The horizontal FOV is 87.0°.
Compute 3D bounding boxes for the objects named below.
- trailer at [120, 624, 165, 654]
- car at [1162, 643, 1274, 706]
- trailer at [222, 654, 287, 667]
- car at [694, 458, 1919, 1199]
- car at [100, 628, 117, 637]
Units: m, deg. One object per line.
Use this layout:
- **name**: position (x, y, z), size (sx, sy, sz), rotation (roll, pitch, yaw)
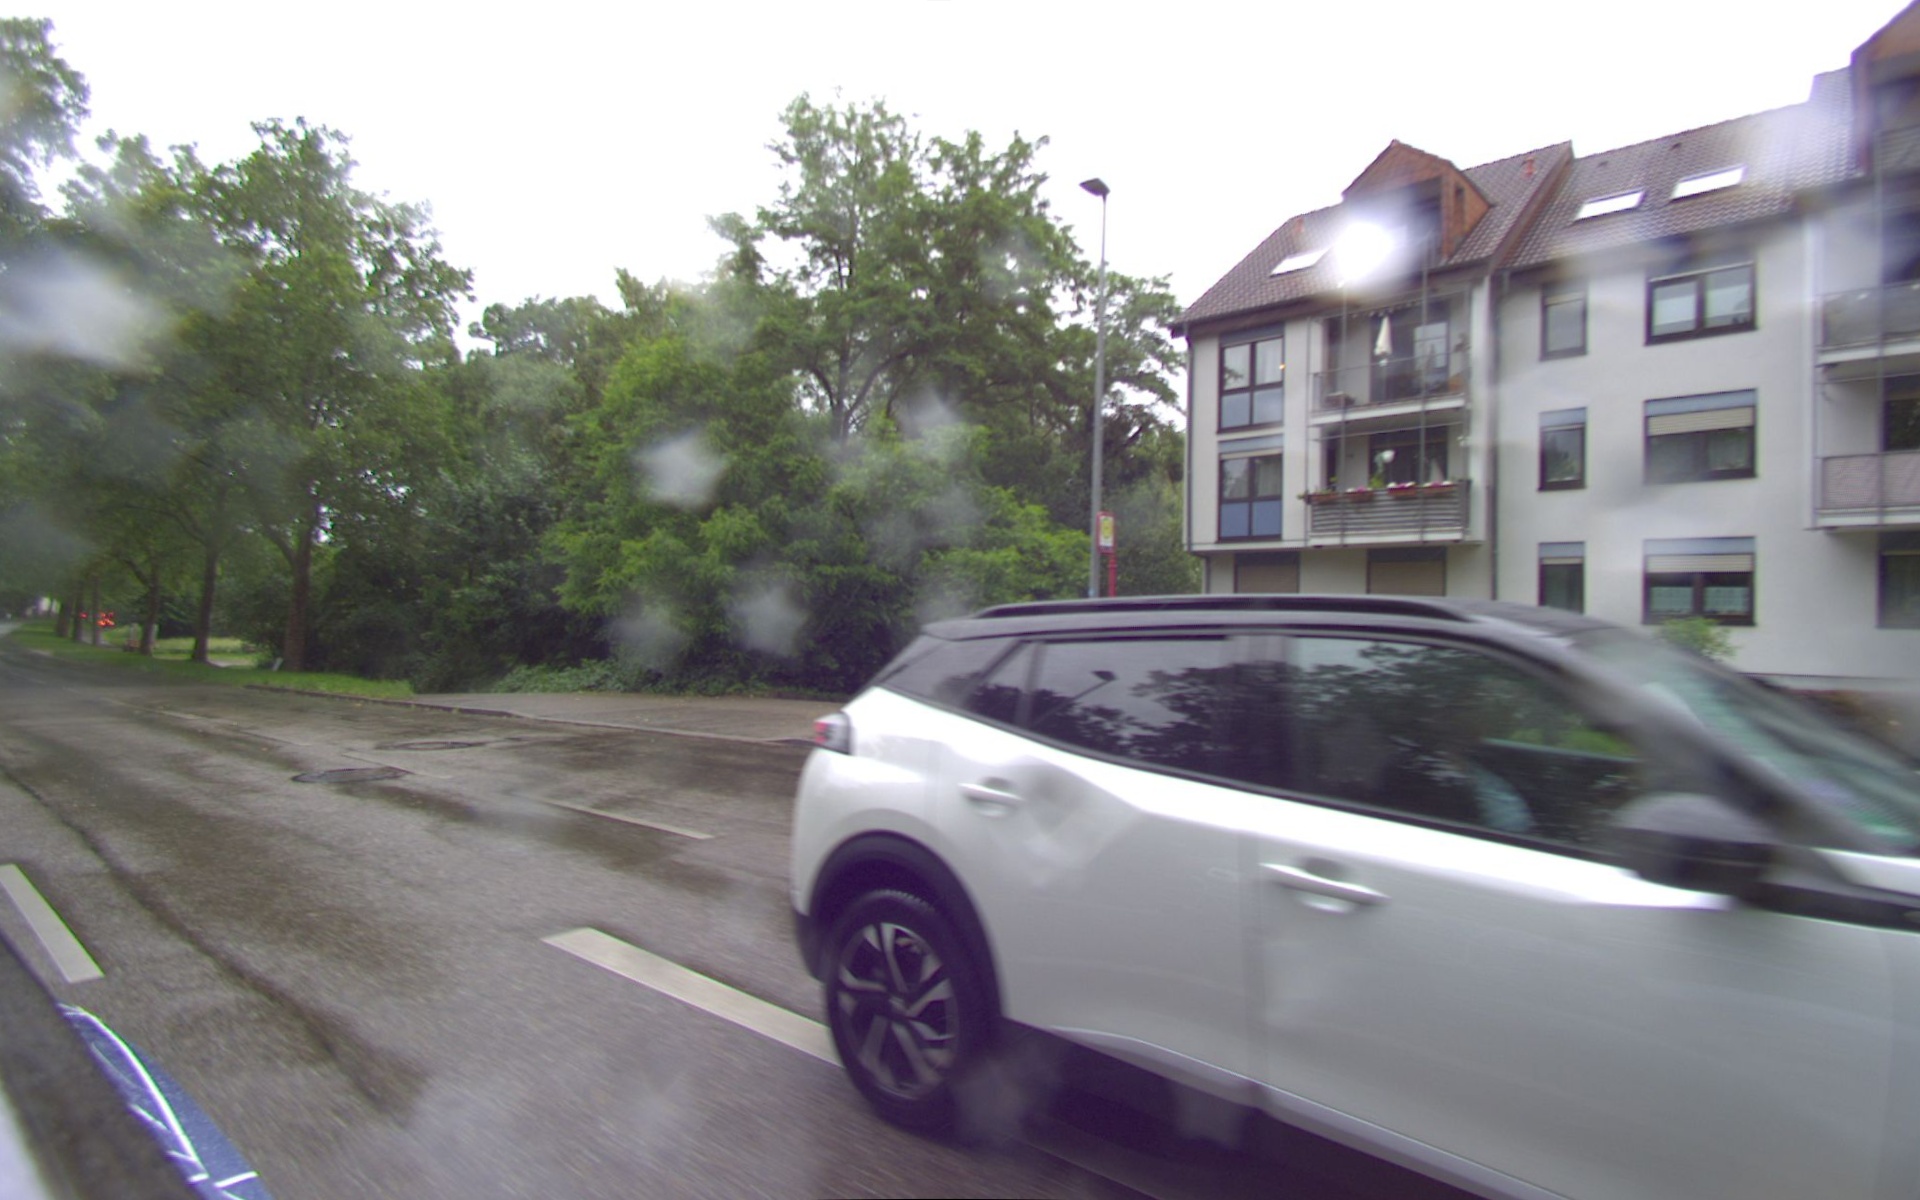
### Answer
- **trailer**: position (-78.767, 3.715, 97.410), size (2.765, 2.684, 6.659), rotation (4, -3, -43)
- **car**: position (7.497, 2.170, 29.212), size (1.724, 1.497, 3.514), rotation (0, -6, 40)
- **trailer**: position (-61.766, 5.279, 88.674), size (2.383, 1.040, 4.268), rotation (0, -3, 44)
- **car**: position (1.328, 0.629, 2.575), size (4.366, 1.547, 1.734), rotation (-2, -4, 42)
- **car**: position (-167.240, 6.398, 198.706), size (1.867, 1.695, 4.012), rotation (3, -2, -31)
